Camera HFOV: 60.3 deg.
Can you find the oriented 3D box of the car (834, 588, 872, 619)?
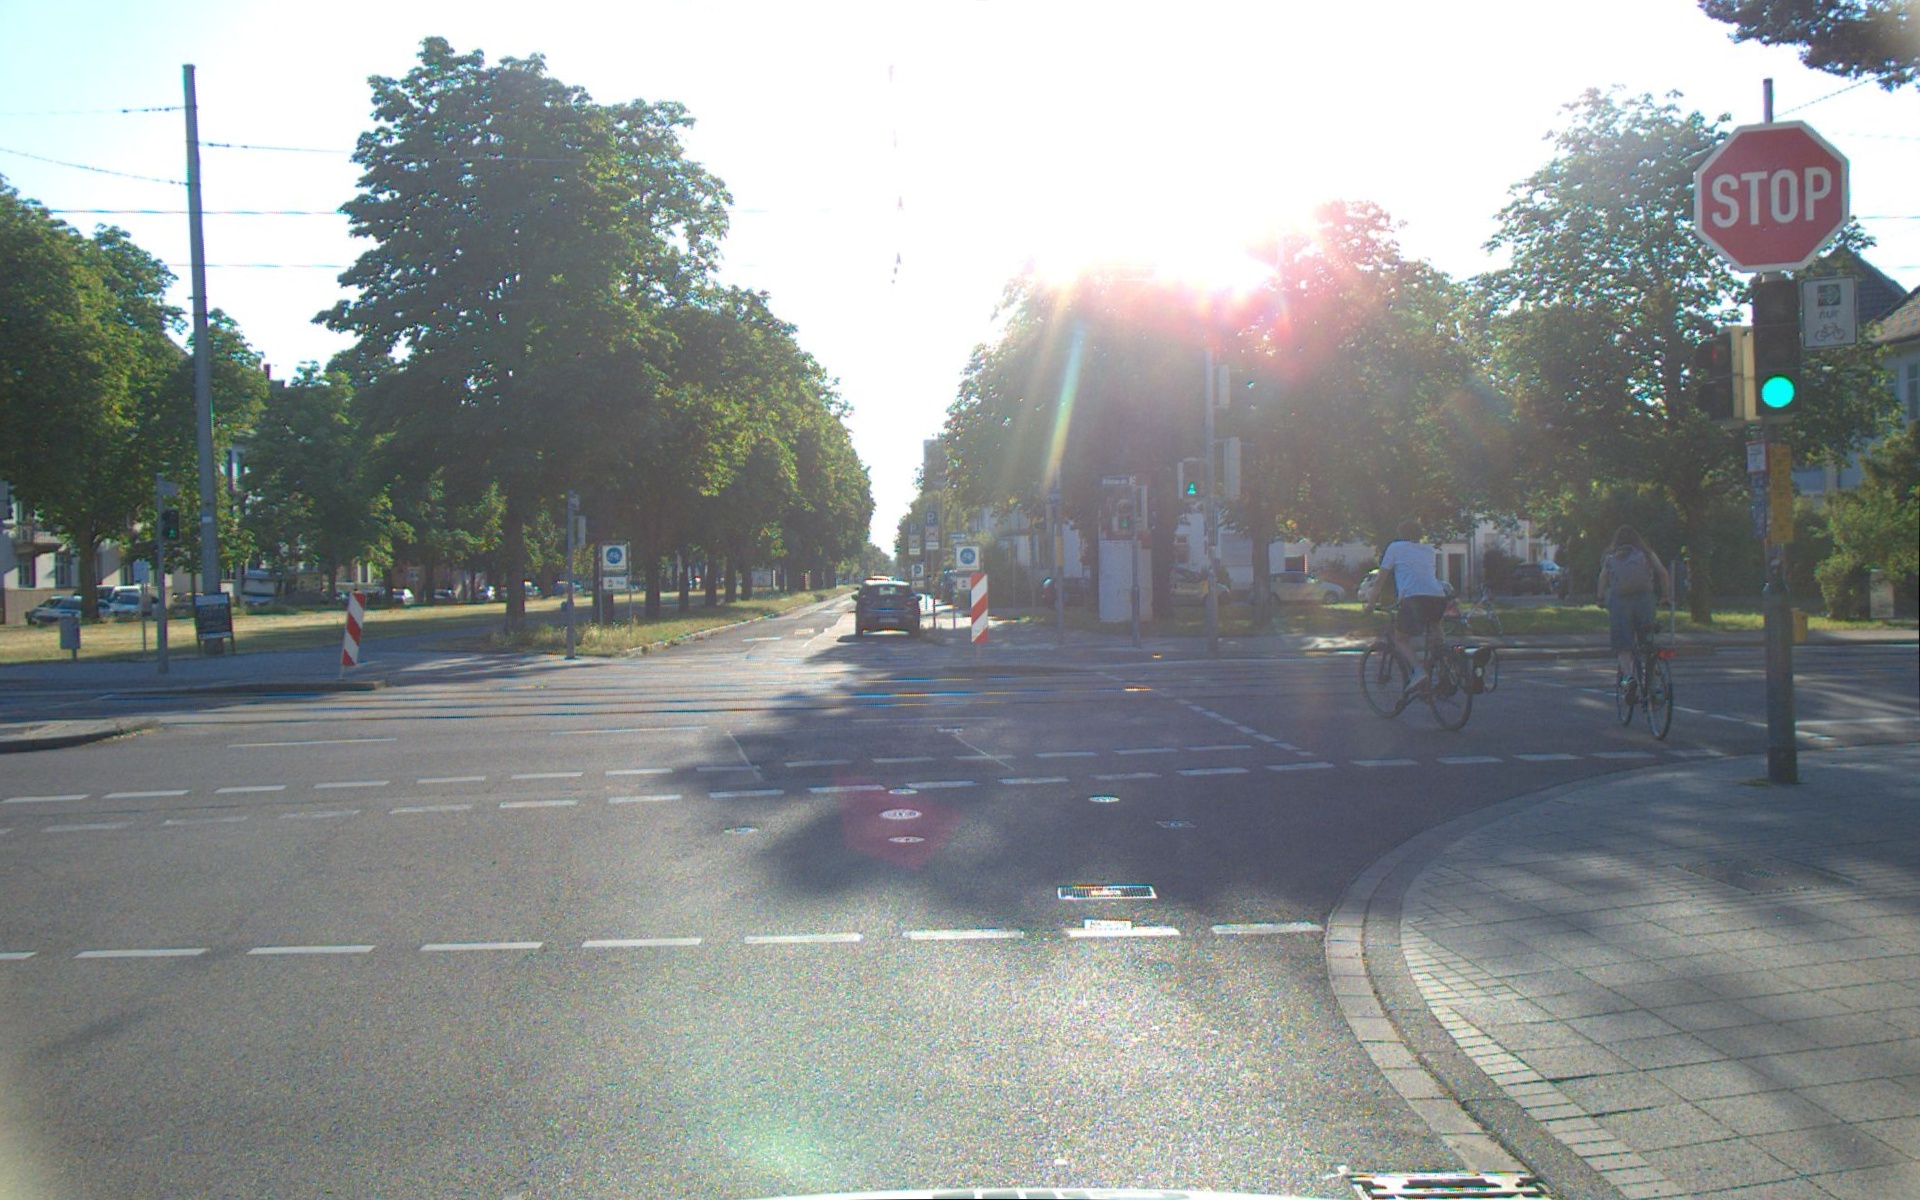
[{"bbox_3d":[-5.042,0.164,78.067,1.675,1.383,4.201,1,0,-2],"label":"car"}]

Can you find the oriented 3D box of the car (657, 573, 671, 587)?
[{"bbox_3d":[-45.314,-3.029,253.047,1.621,1.972,3.565,1,-1,-3],"label":"car"}]

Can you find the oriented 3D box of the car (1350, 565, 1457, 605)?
[{"bbox_3d":[17.726,-0.603,66.135,3.847,1.550,1.521,0,-1,-8],"label":"car"}]

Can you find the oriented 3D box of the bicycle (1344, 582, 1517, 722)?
[{"bbox_3d":[4.283,0.445,15.198,0.563,1.204,1.896,1,0,-18],"label":"bicycle"}]

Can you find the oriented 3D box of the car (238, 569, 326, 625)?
[{"bbox_3d":[-41.061,-0.230,100.402,2.344,3.185,7.850,1,1,-2],"label":"car"}]

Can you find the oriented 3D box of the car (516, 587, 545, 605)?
[{"bbox_3d":[-43.308,-0.393,166.871,1.982,1.688,3.982,1,0,-2],"label":"car"}]

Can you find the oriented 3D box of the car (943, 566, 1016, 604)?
[{"bbox_3d":[1.096,-0.831,93.511,3.911,1.854,1.757,-2,-5,-7],"label":"car"}]

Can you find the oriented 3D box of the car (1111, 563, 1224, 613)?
[{"bbox_3d":[8.193,-0.455,65.617,4.157,1.908,2.029,-1,0,-3],"label":"car"}]

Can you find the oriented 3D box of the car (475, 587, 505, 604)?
[{"bbox_3d":[-48.843,-0.473,171.969,1.953,1.688,4.354,1,0,-1],"label":"car"}]

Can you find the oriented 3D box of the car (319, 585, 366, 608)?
[{"bbox_3d":[-47.007,-0.260,126.007,1.953,1.688,4.373,1,0,-1],"label":"car"}]

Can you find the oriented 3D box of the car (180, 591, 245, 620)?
[{"bbox_3d":[-46.082,0.344,102.006,1.953,1.688,4.569,1,0,-1],"label":"car"}]

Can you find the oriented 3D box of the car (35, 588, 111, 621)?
[{"bbox_3d":[-45.851,0.225,85.543,1.681,1.661,4.190,1,0,-1],"label":"car"}]

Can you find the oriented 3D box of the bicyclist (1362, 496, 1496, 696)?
[{"bbox_3d":[4.274,-0.032,15.115,0.802,1.762,0.889,1,-1,-19],"label":"bicyclist"}]

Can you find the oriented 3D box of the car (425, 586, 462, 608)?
[{"bbox_3d":[-42.476,-0.228,136.147,1.775,1.812,4.121,1,0,-2],"label":"car"}]

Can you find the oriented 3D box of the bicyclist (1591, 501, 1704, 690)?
[{"bbox_3d":[5.968,-0.039,14.398,0.697,1.590,0.894,1,-1,9],"label":"bicyclist"}]

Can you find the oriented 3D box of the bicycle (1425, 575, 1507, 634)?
[{"bbox_3d":[10.075,0.085,32.937,1.489,1.108,0.468,-1,3,6],"label":"bicycle"}]

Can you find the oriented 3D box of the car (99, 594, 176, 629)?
[{"bbox_3d":[-40.236,0.523,81.004,1.760,1.581,4.416,1,1,-4],"label":"car"}]

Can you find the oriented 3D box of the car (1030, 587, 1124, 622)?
[{"bbox_3d":[5.069,0.198,72.124,3.907,1.472,1.715,-1,0,-3],"label":"car"}]

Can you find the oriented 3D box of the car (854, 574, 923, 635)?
[{"bbox_3d":[-1.873,0.122,44.568,1.690,1.537,4.539,1,0,-1],"label":"car"}]

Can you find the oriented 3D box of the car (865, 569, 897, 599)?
[{"bbox_3d":[-4.951,-0.990,103.629,1.954,1.812,3.998,1,1,-3],"label":"car"}]

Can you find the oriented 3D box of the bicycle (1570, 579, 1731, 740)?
[{"bbox_3d":[5.942,0.471,14.348,0.481,1.204,1.964,1,3,-2],"label":"bicycle"}]

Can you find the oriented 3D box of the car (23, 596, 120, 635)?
[{"bbox_3d":[-40.197,0.704,74.960,1.953,1.688,4.569,1,0,-1],"label":"car"}]

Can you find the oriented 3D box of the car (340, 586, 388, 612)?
[{"bbox_3d":[-41.730,-0.061,115.878,1.841,1.703,4.313,1,0,-2],"label":"car"}]

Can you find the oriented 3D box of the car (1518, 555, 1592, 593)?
[{"bbox_3d":[26.296,-1.145,73.018,1.961,1.579,3.983,-1,1,38],"label":"car"}]

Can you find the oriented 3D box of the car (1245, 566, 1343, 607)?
[{"bbox_3d":[13.196,-0.523,65.422,3.487,1.542,1.602,-1,0,-8],"label":"car"}]
